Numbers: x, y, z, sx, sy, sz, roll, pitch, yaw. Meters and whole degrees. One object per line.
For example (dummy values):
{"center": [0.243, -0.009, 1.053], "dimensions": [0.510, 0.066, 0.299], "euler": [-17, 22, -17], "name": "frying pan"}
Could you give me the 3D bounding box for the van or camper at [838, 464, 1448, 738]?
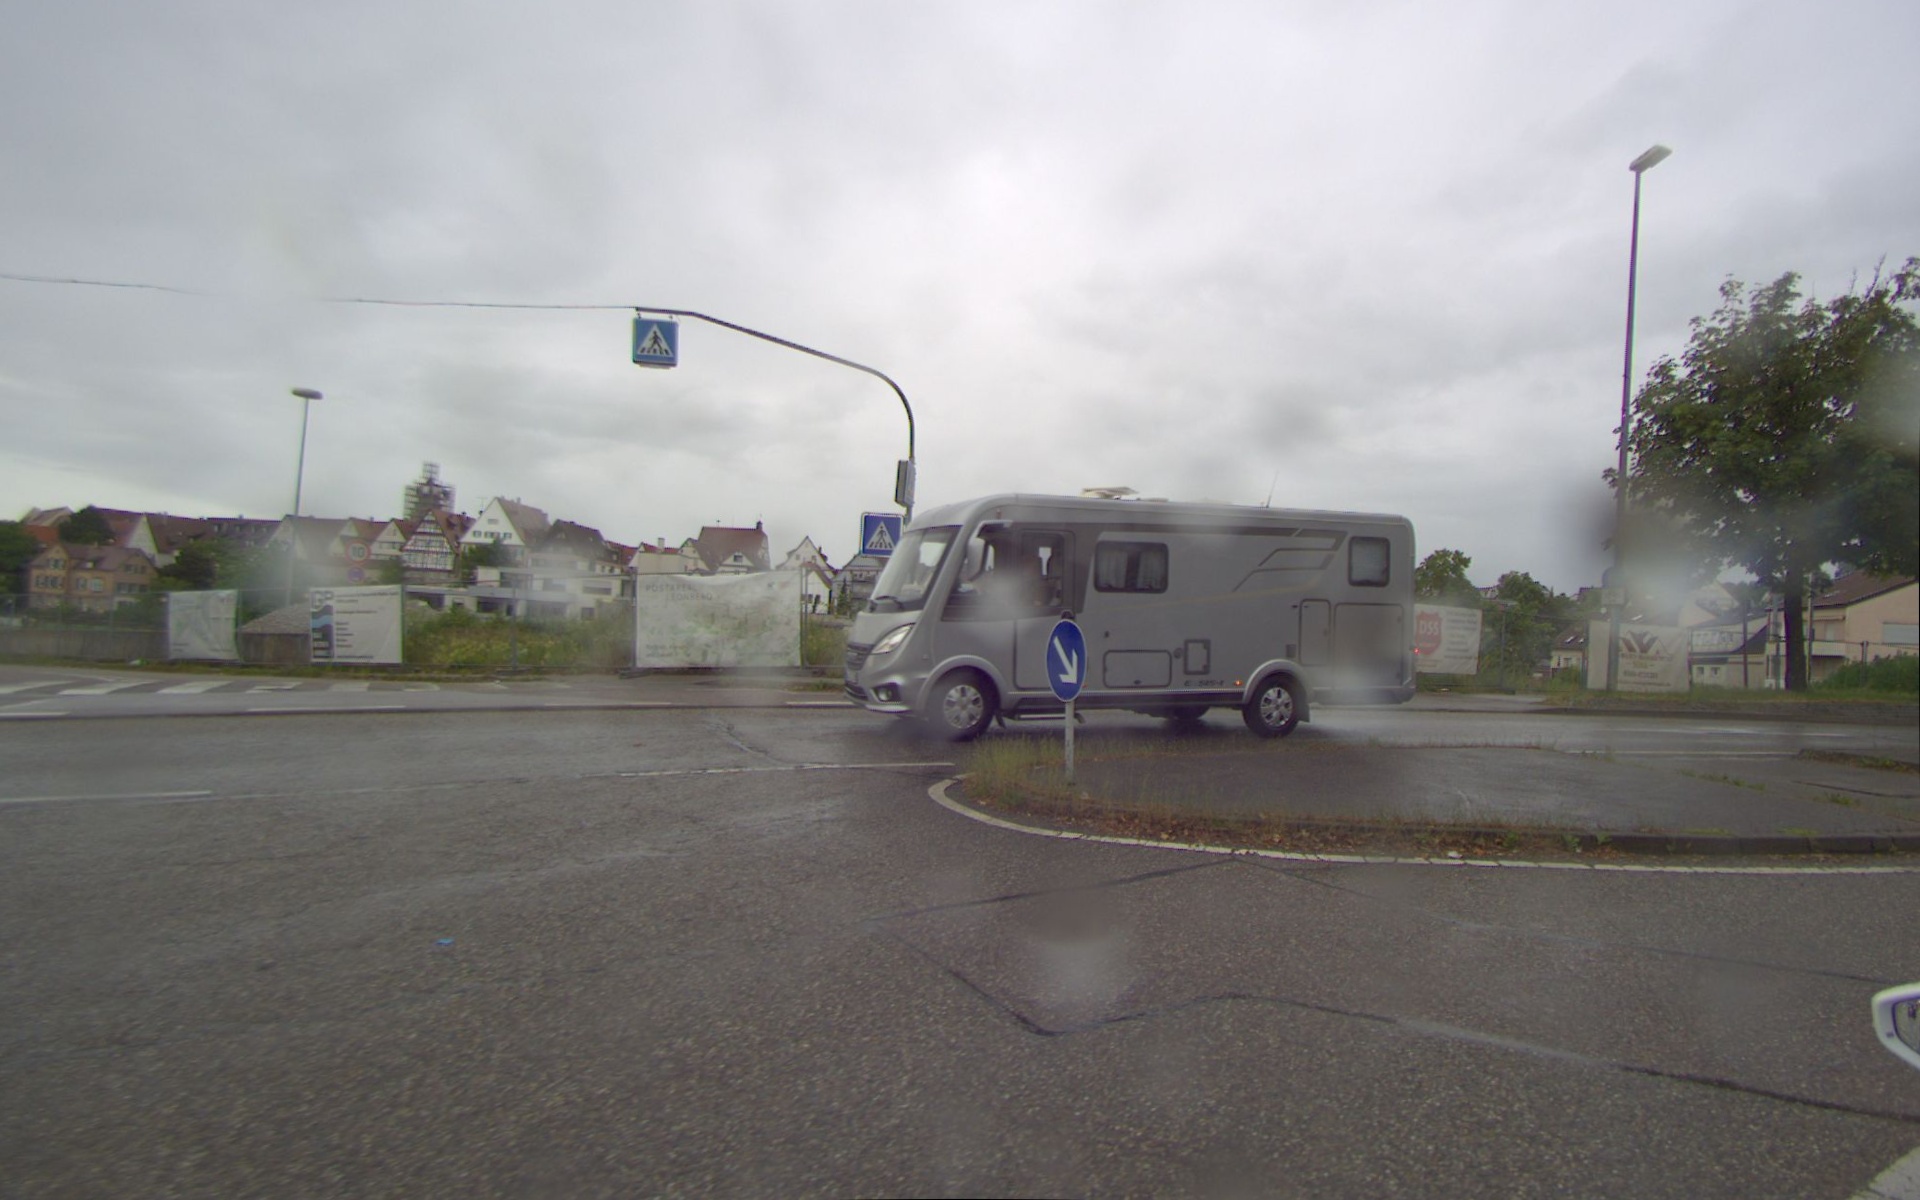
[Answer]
{"center": [2.216, 0.161, 12.119], "dimensions": [6.911, 2.691, 2.365], "euler": [3, -1, -19], "name": "van or camper"}
